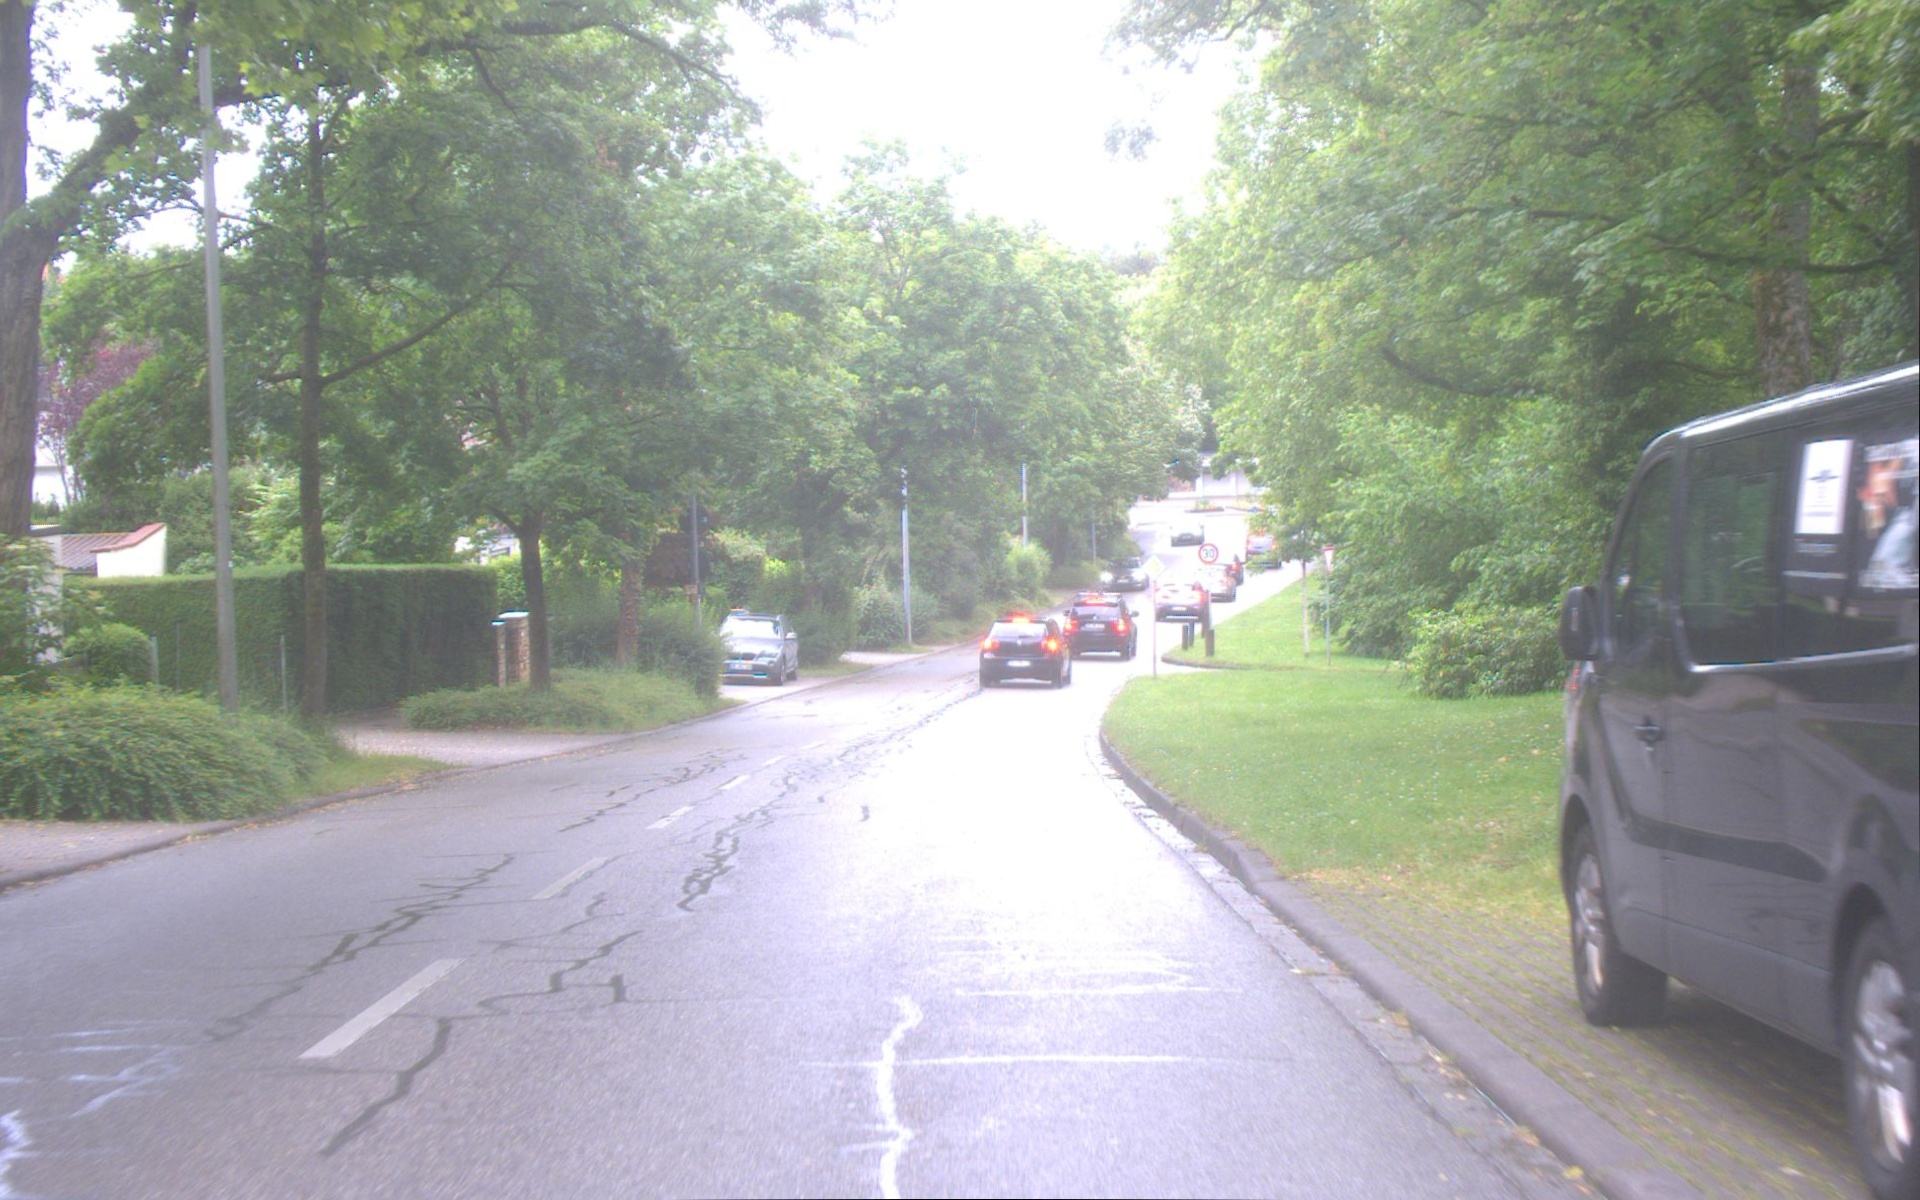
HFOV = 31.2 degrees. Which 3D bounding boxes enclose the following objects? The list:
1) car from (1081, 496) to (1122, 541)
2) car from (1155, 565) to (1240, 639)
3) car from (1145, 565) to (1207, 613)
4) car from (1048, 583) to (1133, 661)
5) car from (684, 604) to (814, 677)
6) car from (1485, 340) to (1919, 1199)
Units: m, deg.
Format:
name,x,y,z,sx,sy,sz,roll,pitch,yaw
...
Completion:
name,x,y,z,sx,sy,sz,roll,pitch,yaw
car,7.225,-4.175,175.436,1.993,2.006,4.001,-1,5,1
car,6.596,0.059,95.834,1.993,2.007,4.000,-1,0,-1
car,7.727,-0.397,123.228,1.856,1.686,4.000,-1,0,-1
car,3.464,0.573,91.736,1.993,2.007,4.000,-1,0,-1
car,-4.749,0.899,77.923,1.994,1.593,4.008,-1,0,11
car,2.930,0.387,9.508,1.993,1.903,5.509,-1,0,-1
